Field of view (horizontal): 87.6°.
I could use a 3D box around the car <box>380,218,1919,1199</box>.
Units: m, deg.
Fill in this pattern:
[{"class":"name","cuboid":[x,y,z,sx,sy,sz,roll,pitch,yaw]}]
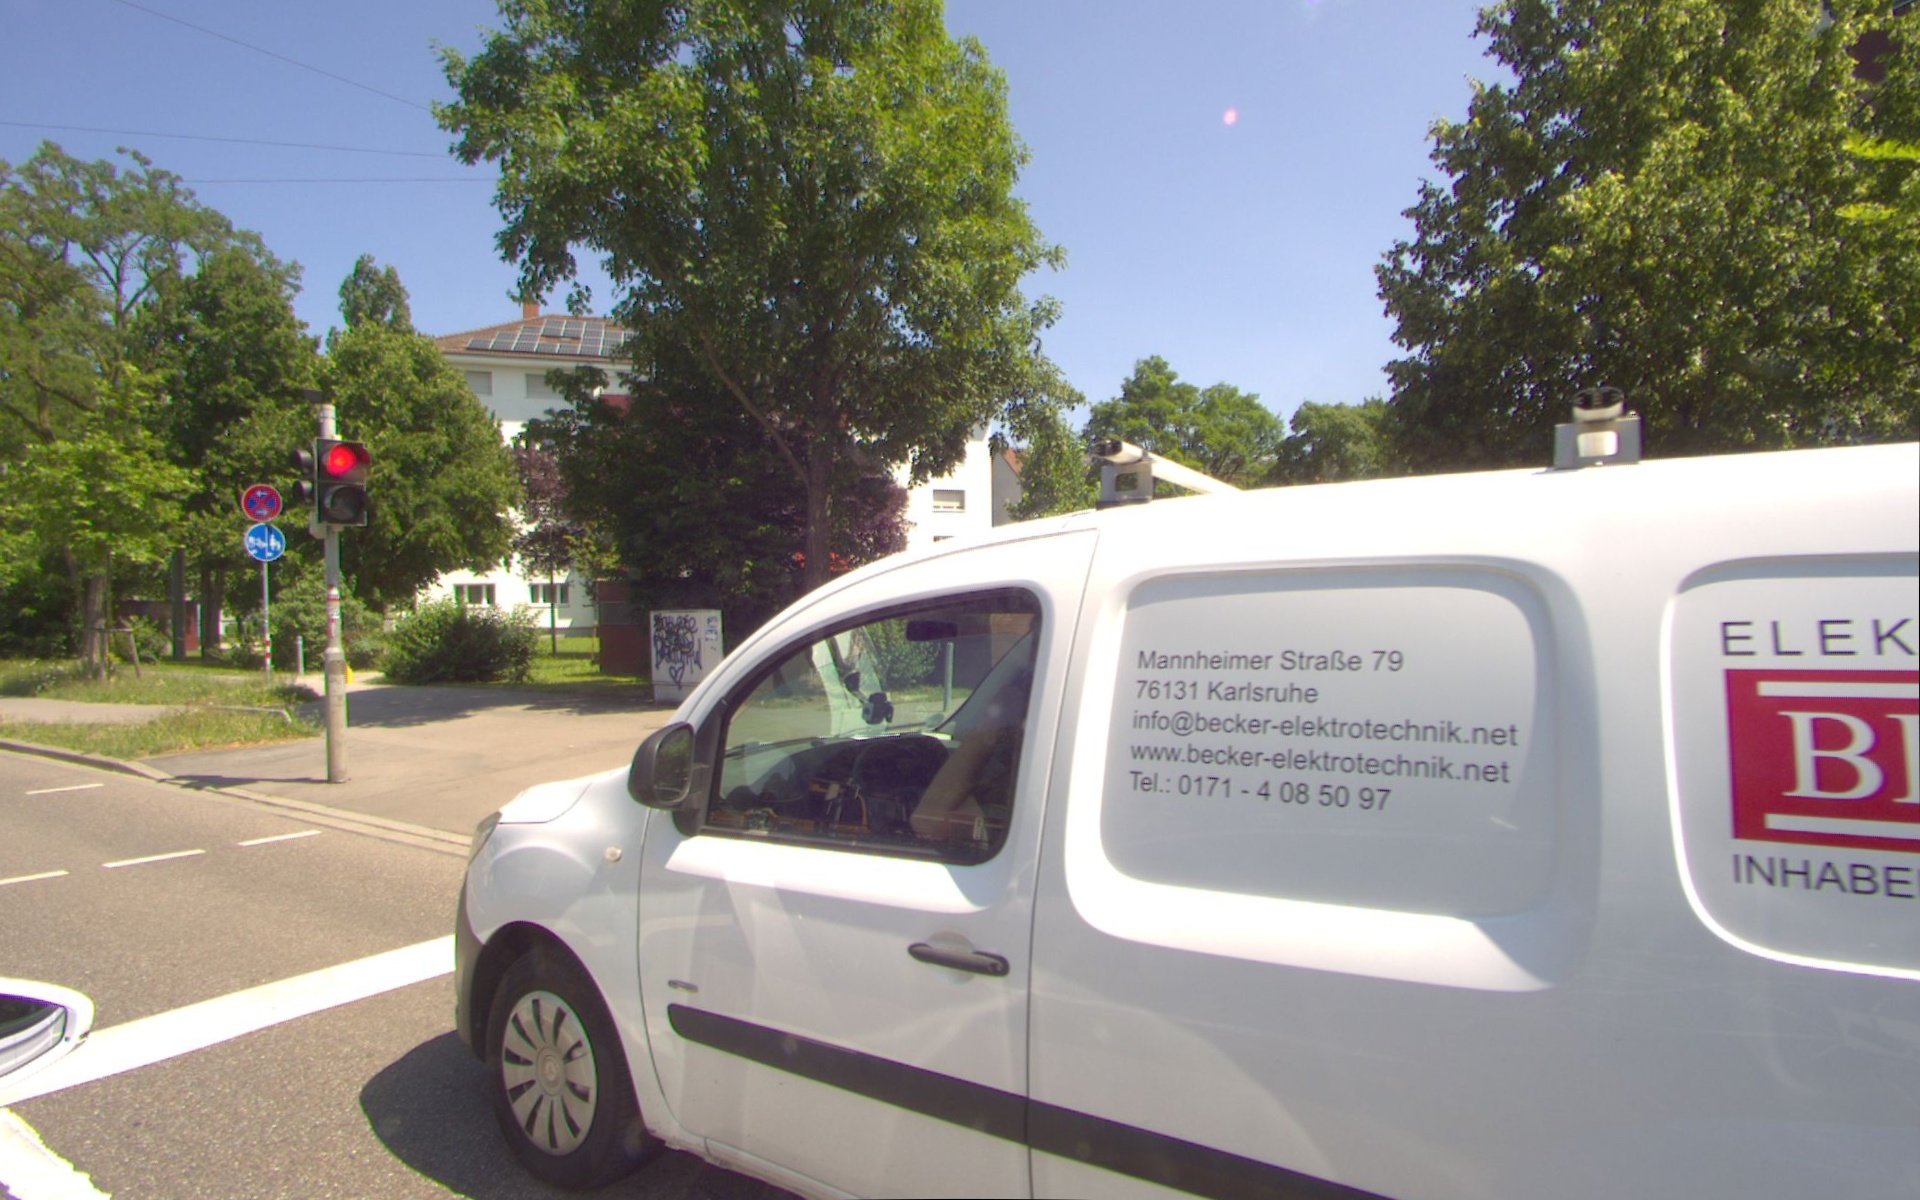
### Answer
[{"class":"car","cuboid":[0.582,0.550,2.575,4.393,1.906,1.820,-1,-1,33]}]
